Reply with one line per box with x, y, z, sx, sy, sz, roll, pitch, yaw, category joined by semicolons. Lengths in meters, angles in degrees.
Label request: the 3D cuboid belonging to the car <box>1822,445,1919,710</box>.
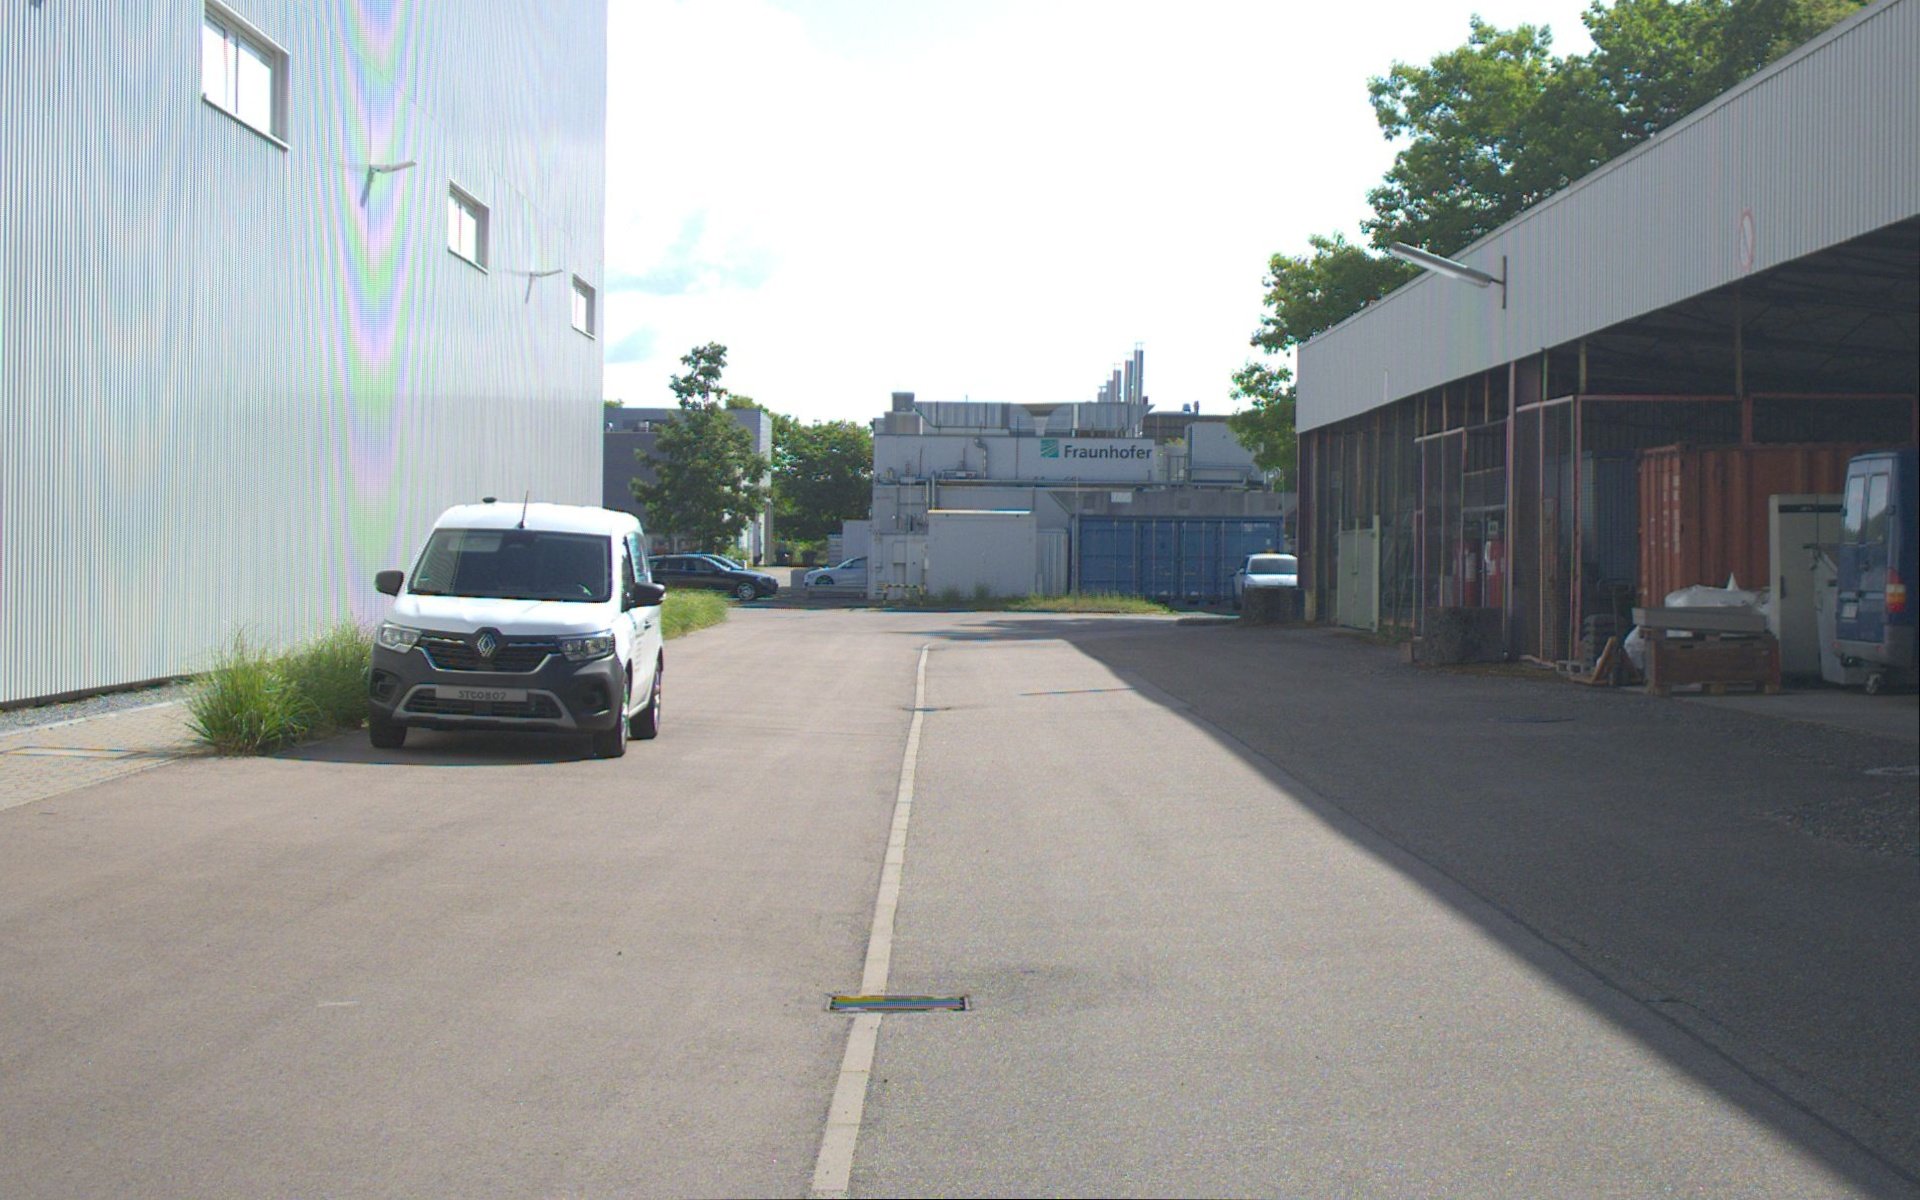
10.219;-0.106;30.852;4.433;2.302;1.915;2;-1;1;car

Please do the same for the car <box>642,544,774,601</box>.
-7.890;-0.851;107.818;3.987;1.592;1.742;2;-1;-1;car

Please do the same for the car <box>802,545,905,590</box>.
-4.185;-1.279;135.683;3.987;1.592;1.848;2;-1;-1;car

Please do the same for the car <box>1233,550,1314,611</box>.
8.667;-0.571;95.335;1.962;1.559;4.059;2;1;2;car

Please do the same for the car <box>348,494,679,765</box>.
-3.217;0.159;25.583;1.818;1.781;4.405;2;1;0;car
